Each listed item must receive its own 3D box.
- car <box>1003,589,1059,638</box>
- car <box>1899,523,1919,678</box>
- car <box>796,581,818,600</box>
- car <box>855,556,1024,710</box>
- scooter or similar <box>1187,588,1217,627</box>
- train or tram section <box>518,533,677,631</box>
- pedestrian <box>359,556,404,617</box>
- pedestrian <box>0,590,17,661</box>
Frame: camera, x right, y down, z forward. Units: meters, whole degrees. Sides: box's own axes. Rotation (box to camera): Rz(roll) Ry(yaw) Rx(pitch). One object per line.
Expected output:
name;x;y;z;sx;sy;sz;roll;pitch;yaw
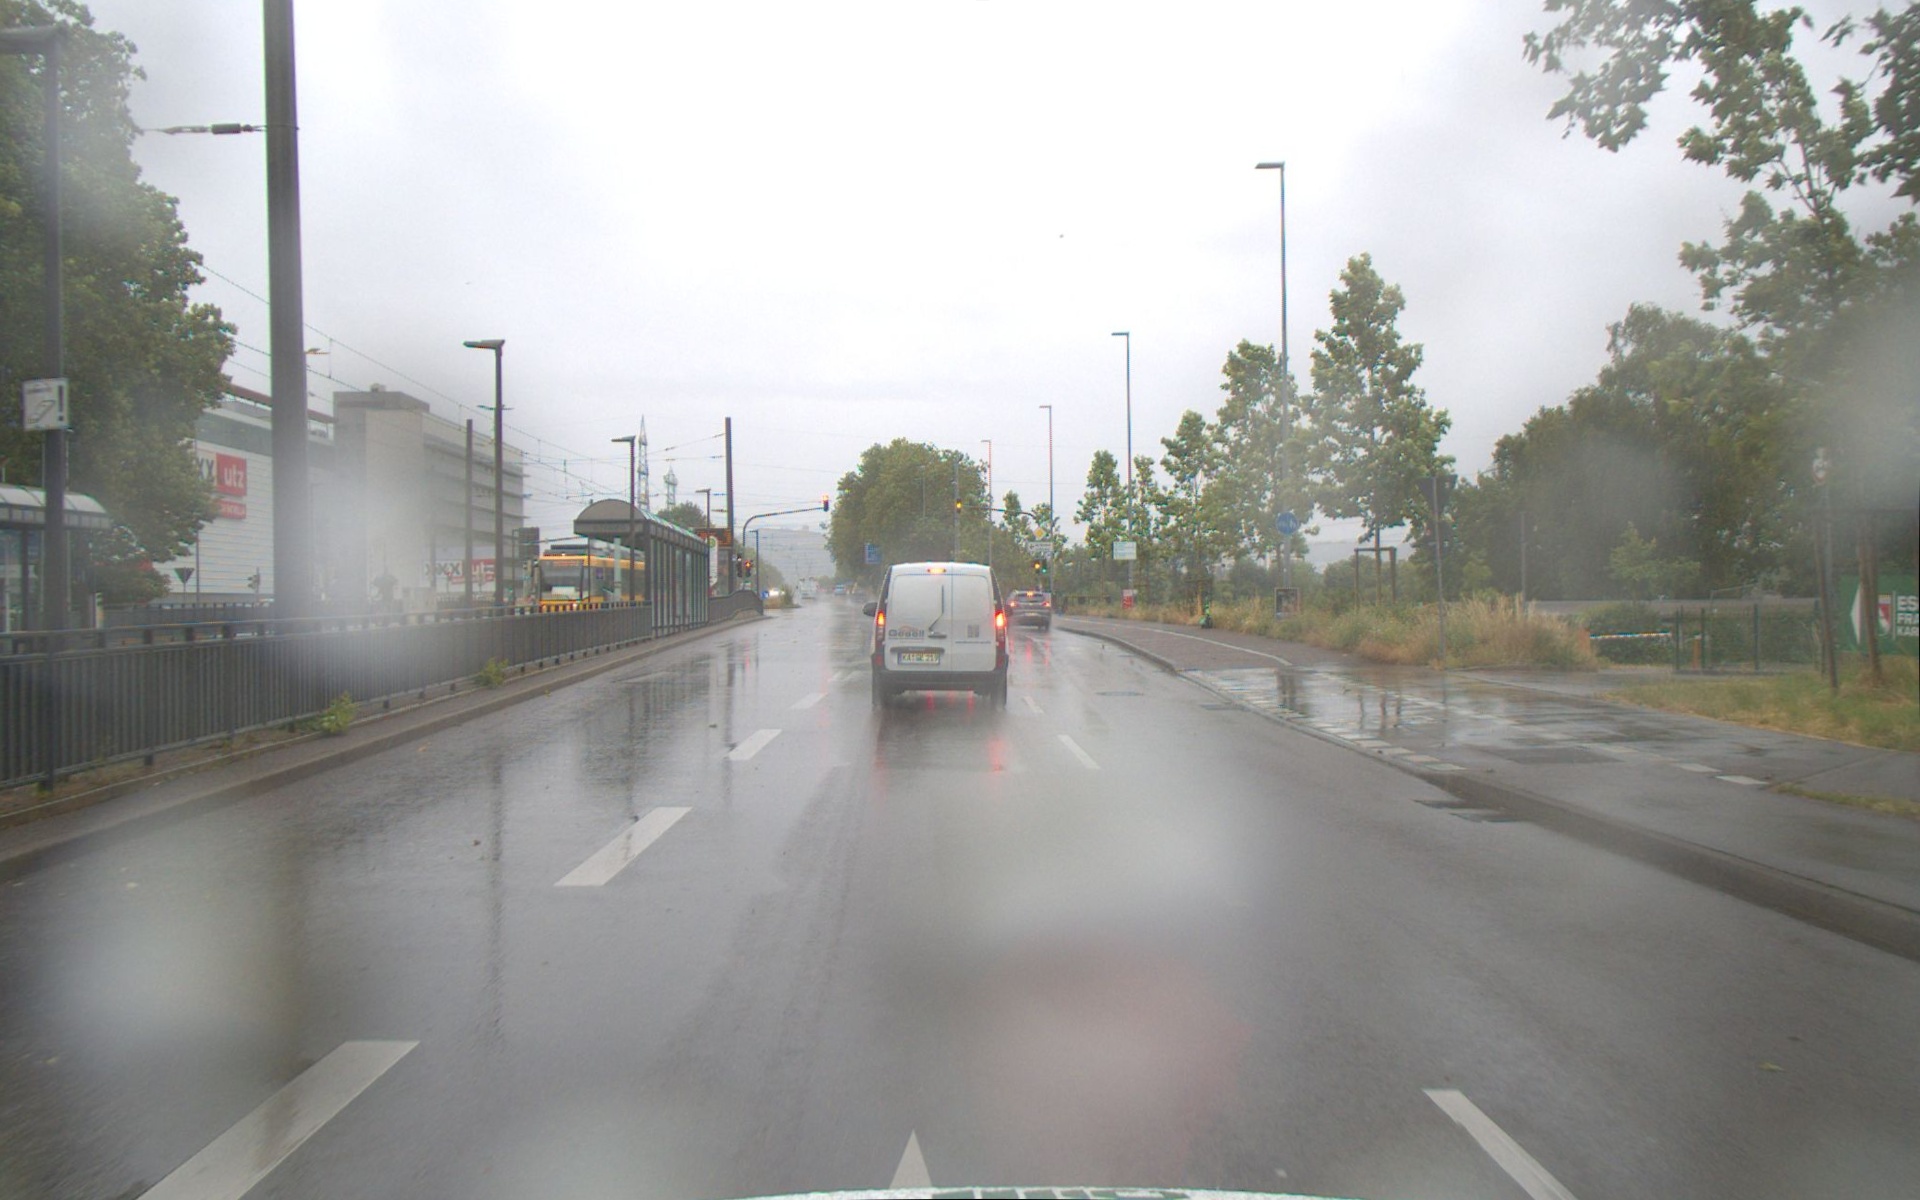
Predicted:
car;2.656;0.492;62.746;1.952;1.780;4.000;1;0;1
car;15.272;0.067;21.455;5.147;2.049;1.998;1;0;-5
car;-15.167;-0.916;164.084;1.956;1.780;3.993;1;0;-8
car;-0.379;0.394;22.078;1.985;1.806;4.271;1;0;-4
scooter or similar;7.826;0.241;53.503;0.630;1.216;1.561;-1;0;-4
train or tram section;-17.888;-0.821;84.641;3.695;4.107;27.074;1;0;-3
pedestrian;-19.867;-0.458;56.832;1.065;2.049;1.097;1;0;6
pedestrian;-18.449;0.479;31.368;0.629;1.326;0.815;1;0;2
